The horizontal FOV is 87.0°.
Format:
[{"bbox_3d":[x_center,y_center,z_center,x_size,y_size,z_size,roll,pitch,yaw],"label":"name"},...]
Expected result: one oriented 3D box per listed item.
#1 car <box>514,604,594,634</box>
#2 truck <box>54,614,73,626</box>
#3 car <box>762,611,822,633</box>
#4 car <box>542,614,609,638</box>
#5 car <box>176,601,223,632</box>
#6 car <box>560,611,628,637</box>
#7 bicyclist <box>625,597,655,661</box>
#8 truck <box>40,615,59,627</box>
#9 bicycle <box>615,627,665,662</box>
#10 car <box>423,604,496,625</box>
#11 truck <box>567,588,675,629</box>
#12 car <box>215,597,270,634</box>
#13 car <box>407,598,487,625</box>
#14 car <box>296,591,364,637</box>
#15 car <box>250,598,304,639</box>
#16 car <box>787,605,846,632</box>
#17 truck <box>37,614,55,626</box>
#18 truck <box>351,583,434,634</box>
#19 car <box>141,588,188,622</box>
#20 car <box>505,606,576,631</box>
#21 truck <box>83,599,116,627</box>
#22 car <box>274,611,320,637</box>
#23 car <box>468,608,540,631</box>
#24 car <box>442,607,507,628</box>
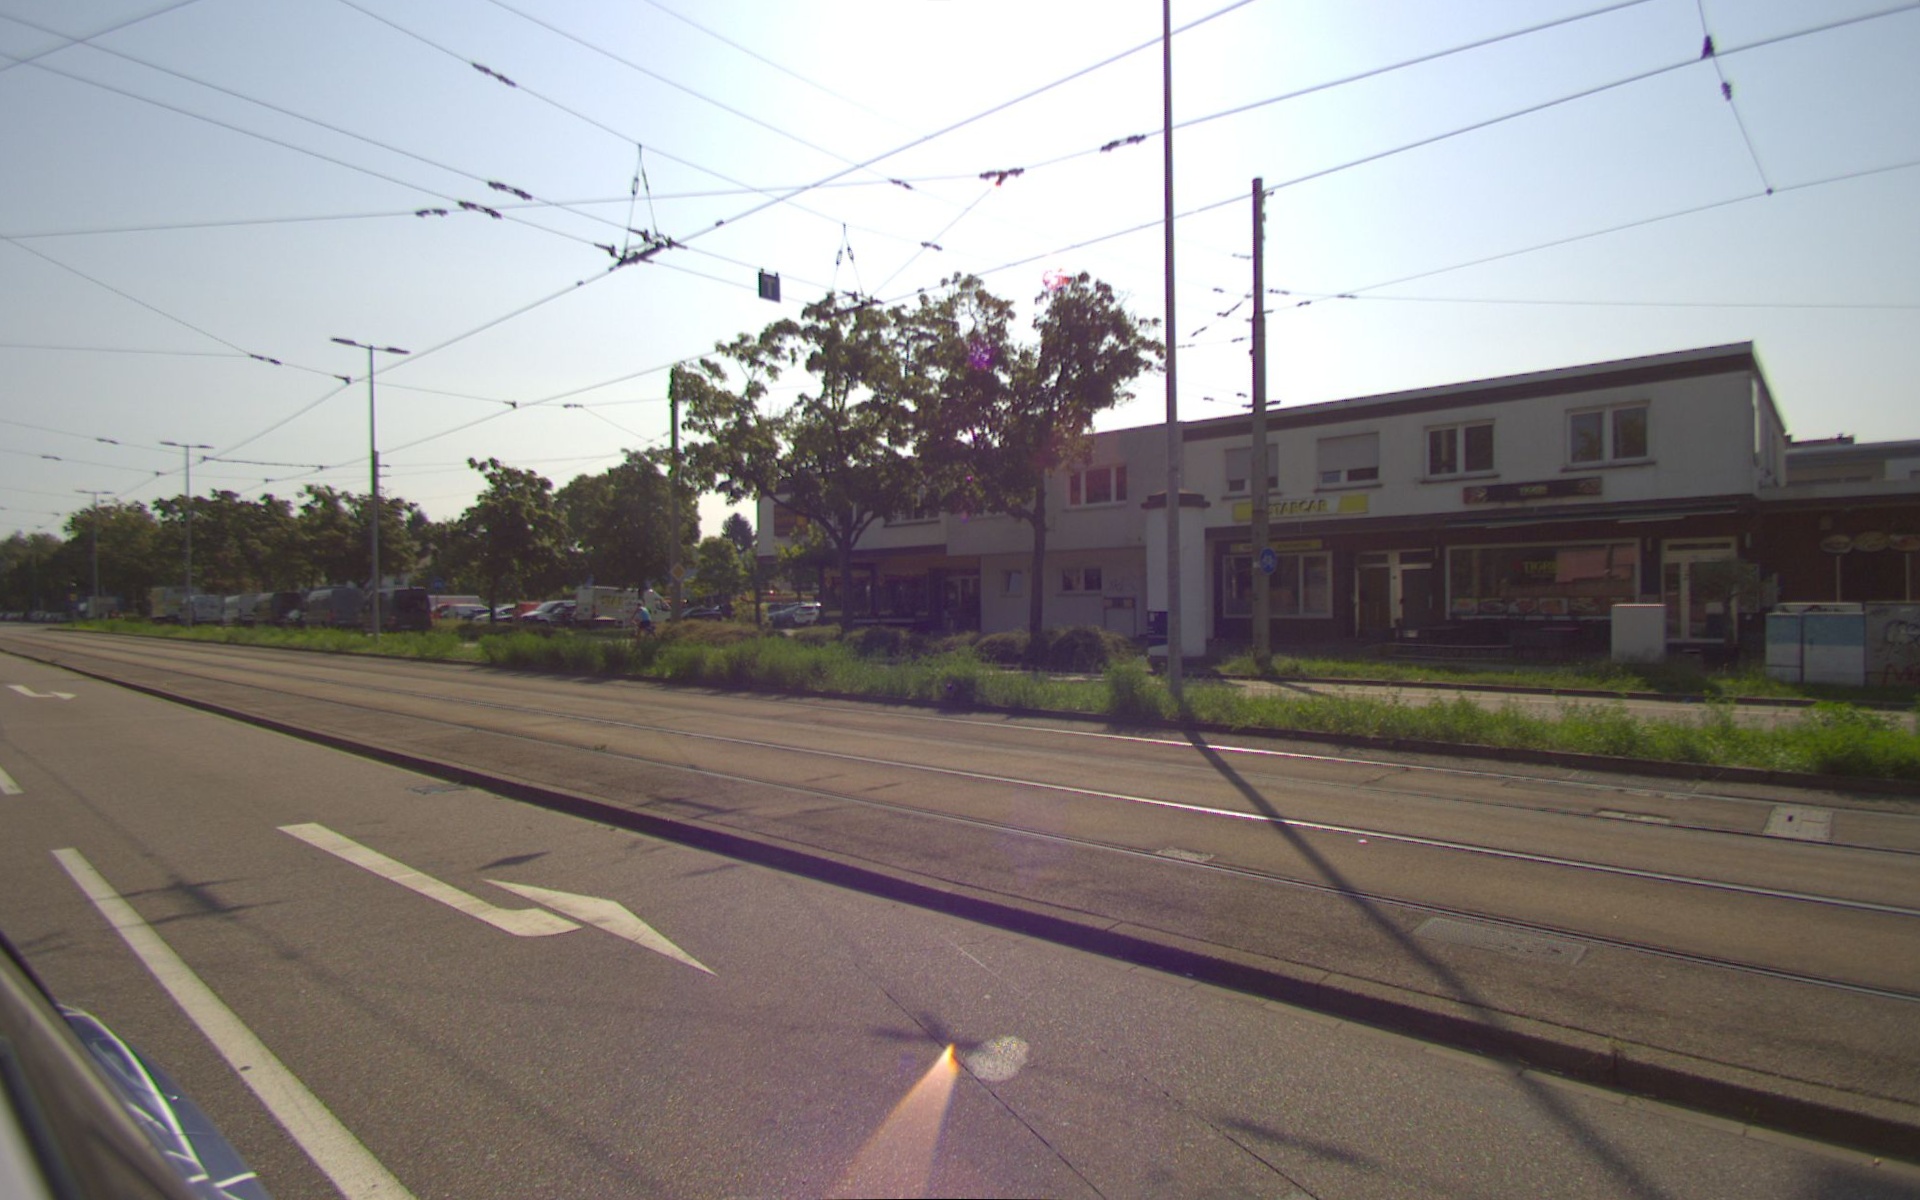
[{"bbox_3d":[-25.252,1.197,63.035,1.632,1.798,4.352,0,-2,41],"label":"car"},{"bbox_3d":[-124.492,2.789,140.544,3.655,1.687,1.668,-1,-2,43],"label":"truck"},{"bbox_3d":[-10.995,1.419,66.440,3.660,1.353,1.493,0,-1,-40],"label":"car"},{"bbox_3d":[-23.130,1.567,60.982,1.632,1.437,3.369,0,-2,41],"label":"car"},{"bbox_3d":[-63.209,1.375,84.059,4.830,2.477,2.120,0,-2,41],"label":"car"},{"bbox_3d":[-21.500,1.421,59.482,1.632,1.437,3.369,0,-2,41],"label":"car"},{"bbox_3d":[-10.557,0.951,33.377,0.629,2.080,0.775,2,-2,-43],"label":"bicyclist"},{"bbox_3d":[-132.159,3.004,146.943,3.655,1.687,1.668,-1,-2,43],"label":"truck"},{"bbox_3d":[-10.555,1.440,33.341,0.706,1.099,2.268,2,-2,-42],"label":"bicycle"},{"bbox_3d":[-37.750,1.100,76.429,1.632,1.461,4.605,0,-2,41],"label":"car"},{"bbox_3d":[-19.372,0.534,58.044,2.258,2.189,5.432,0,-2,41],"label":"truck"},{"bbox_3d":[-52.747,1.121,74.344,5.631,2.606,2.109,-1,-2,43],"label":"car"},{"bbox_3d":[-39.896,0.929,78.756,2.052,1.940,5.131,0,-2,41],"label":"car"},{"bbox_3d":[-37.665,0.814,60.428,6.469,2.605,1.966,-1,1,45],"label":"car"},{"bbox_3d":[-46.626,1.249,69.024,5.911,2.605,1.802,-1,0,44],"label":"car"},{"bbox_3d":[-9.238,1.156,65.324,1.875,1.513,3.413,2,3,39],"label":"car"},{"bbox_3d":[-135.297,2.999,149.748,3.655,1.687,1.668,-1,-2,43],"label":"truck"},{"bbox_3d":[-30.236,0.492,53.824,5.737,2.567,2.059,0,-2,42],"label":"truck"},{"bbox_3d":[-70.860,0.461,90.105,7.231,2.826,2.101,-1,-2,43],"label":"car"},{"bbox_3d":[-26.941,1.204,65.128,1.632,1.530,3.882,0,-2,41],"label":"car"},{"bbox_3d":[-102.086,1.573,120.073,2.247,3.145,8.792,2,-2,-45],"label":"truck"},{"bbox_3d":[-42.411,1.498,64.713,3.835,1.563,1.725,-1,0,45],"label":"car"},{"bbox_3d":[-30.777,1.309,68.377,1.625,1.474,4.109,-1,-2,44],"label":"car"},{"bbox_3d":[-34.598,1.266,72.195,1.632,1.461,3.882,0,-2,41],"label":"car"}]
